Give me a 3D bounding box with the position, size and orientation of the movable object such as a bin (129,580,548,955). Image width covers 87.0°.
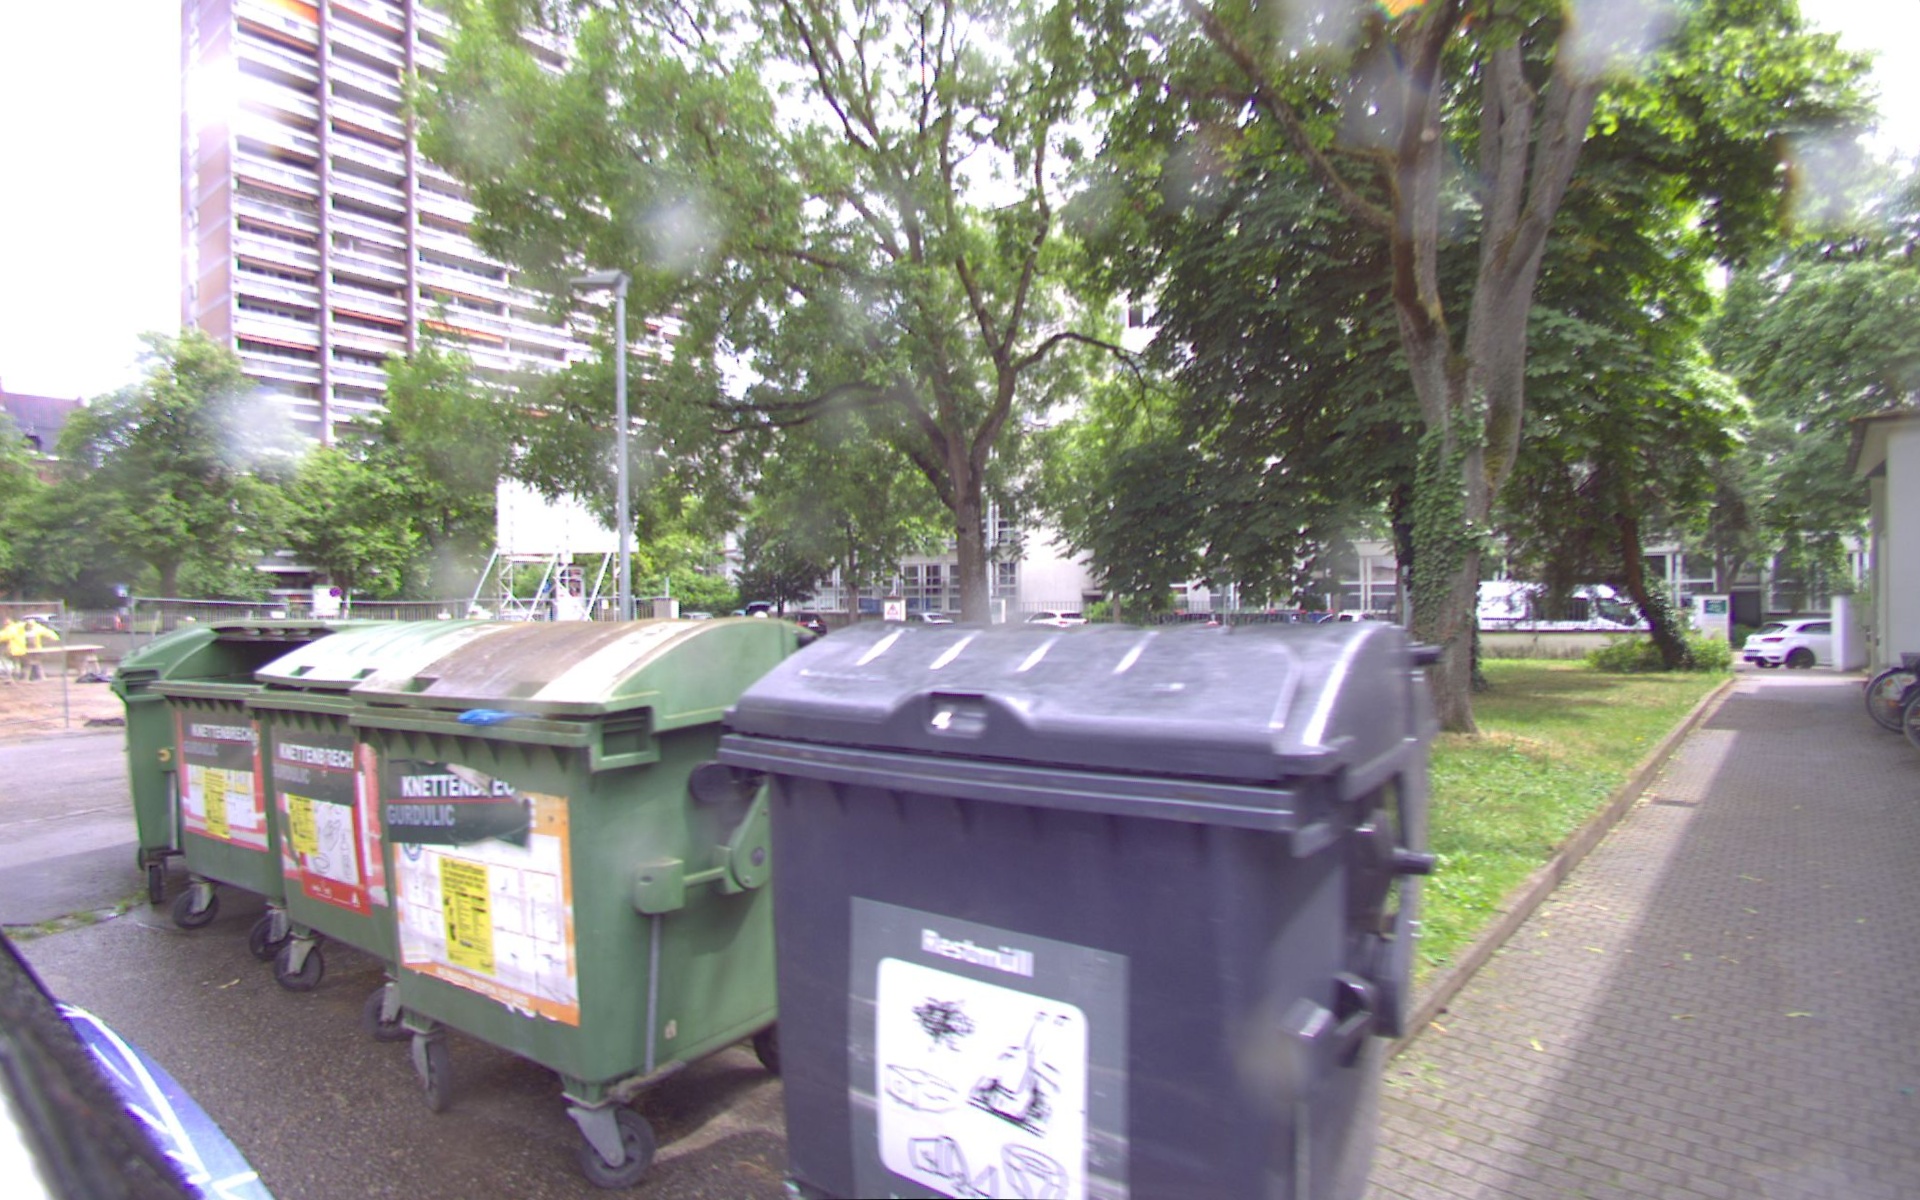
[{"bbox_3d":[-3.076,0.677,5.024,1.464,1.482,1.346,-2,0,40],"label":"movable object such as a bin"}]

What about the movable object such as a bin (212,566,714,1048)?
[{"bbox_3d":[-1.979,0.637,4.068,1.351,1.482,1.346,-2,0,40],"label":"movable object such as a bin"}]

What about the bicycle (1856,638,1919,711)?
[{"bbox_3d":[11.335,0.833,11.233,2.056,0.805,0.447,-2,0,41],"label":"bicycle"}]

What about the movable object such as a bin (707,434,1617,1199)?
[{"bbox_3d":[0.460,0.548,2.133,1.364,1.482,1.346,-2,0,40],"label":"movable object such as a bin"}]

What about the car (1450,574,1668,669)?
[{"bbox_3d":[17.276,0.592,29.472,5.029,2.601,2.087,0,-1,13],"label":"car"}]

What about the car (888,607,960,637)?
[{"bbox_3d":[-1.834,1.116,50.348,1.694,1.425,4.010,2,-2,-35],"label":"car"}]

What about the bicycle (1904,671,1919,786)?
[{"bbox_3d":[7.870,0.921,6.901,2.056,0.805,0.447,-2,0,41],"label":"bicycle"}]

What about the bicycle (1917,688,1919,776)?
[{"bbox_3d":[6.663,0.932,5.521,2.056,0.805,0.447,-2,0,41],"label":"bicycle"}]

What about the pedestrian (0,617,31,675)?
[{"bbox_3d":[-25.189,1.202,26.768,0.616,1.520,0.649,-1,-1,0],"label":"pedestrian"}]

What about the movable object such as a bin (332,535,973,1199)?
[{"bbox_3d":[-0.932,0.599,3.149,1.364,1.482,1.346,-2,0,40],"label":"movable object such as a bin"}]

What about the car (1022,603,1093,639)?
[{"bbox_3d":[4.627,1.021,48.406,1.678,1.615,3.400,1,-2,-31],"label":"car"}]

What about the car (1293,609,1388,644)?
[{"bbox_3d":[17.239,1.189,45.974,1.759,1.517,3.792,1,-1,-30],"label":"car"}]

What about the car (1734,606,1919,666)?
[{"bbox_3d":[24.167,0.969,27.826,4.100,1.533,1.904,0,-1,12],"label":"car"}]

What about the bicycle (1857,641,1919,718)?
[{"bbox_3d":[10.920,0.848,10.747,2.056,0.805,0.447,-2,0,41],"label":"bicycle"}]

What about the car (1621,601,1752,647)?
[{"bbox_3d":[30.221,0.987,42.226,1.759,1.820,4.097,1,-1,-30],"label":"car"}]

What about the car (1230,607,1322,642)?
[{"bbox_3d":[14.354,1.099,46.175,1.759,1.517,3.792,1,-1,-30],"label":"car"}]

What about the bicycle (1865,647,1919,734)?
[{"bbox_3d":[9.861,0.864,9.466,2.056,0.805,0.447,-2,0,41],"label":"bicycle"}]

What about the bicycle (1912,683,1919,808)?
[{"bbox_3d":[7.303,0.962,6.235,2.056,0.805,0.447,-2,0,41],"label":"bicycle"}]

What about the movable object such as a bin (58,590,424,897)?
[{"bbox_3d":[-4.269,0.720,6.018,1.559,1.482,1.395,-2,0,40],"label":"movable object such as a bin"}]

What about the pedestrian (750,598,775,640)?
[{"bbox_3d":[-9.723,0.949,49.776,0.852,2.029,0.926,-1,-1,16],"label":"pedestrian"}]

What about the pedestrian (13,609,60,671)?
[{"bbox_3d":[-25.543,1.101,28.001,0.763,1.686,0.715,0,-1,-23],"label":"pedestrian"}]

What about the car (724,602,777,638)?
[{"bbox_3d":[-10.612,0.975,51.123,1.594,1.760,3.660,0,0,-29],"label":"car"}]

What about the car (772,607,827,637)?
[{"bbox_3d":[-8.140,1.090,51.035,1.594,1.438,3.660,-1,0,-29],"label":"car"}]

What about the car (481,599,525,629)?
[{"bbox_3d":[-25.028,0.755,55.389,1.827,1.497,4.012,-2,0,-29],"label":"car"}]

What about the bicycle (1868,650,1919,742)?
[{"bbox_3d":[9.416,0.866,8.927,2.056,0.805,0.447,-2,0,41],"label":"bicycle"}]

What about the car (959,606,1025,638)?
[{"bbox_3d":[1.504,1.081,48.894,1.626,1.456,3.400,1,-2,-31],"label":"car"}]

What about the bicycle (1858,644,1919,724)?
[{"bbox_3d":[10.470,0.858,10.222,2.056,0.805,0.447,-2,0,41],"label":"bicycle"}]

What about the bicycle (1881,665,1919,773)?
[{"bbox_3d":[8.284,0.921,7.547,2.056,0.805,0.447,-2,0,41],"label":"bicycle"}]

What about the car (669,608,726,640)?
[{"bbox_3d":[-13.594,1.214,52.258,1.827,1.497,4.012,-2,0,-29],"label":"car"}]

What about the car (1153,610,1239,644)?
[{"bbox_3d":[10.982,1.228,47.331,1.759,1.517,3.792,1,-1,-30],"label":"car"}]

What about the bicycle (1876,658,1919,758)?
[{"bbox_3d":[8.782,0.899,8.145,2.056,0.805,0.447,-2,0,41],"label":"bicycle"}]
